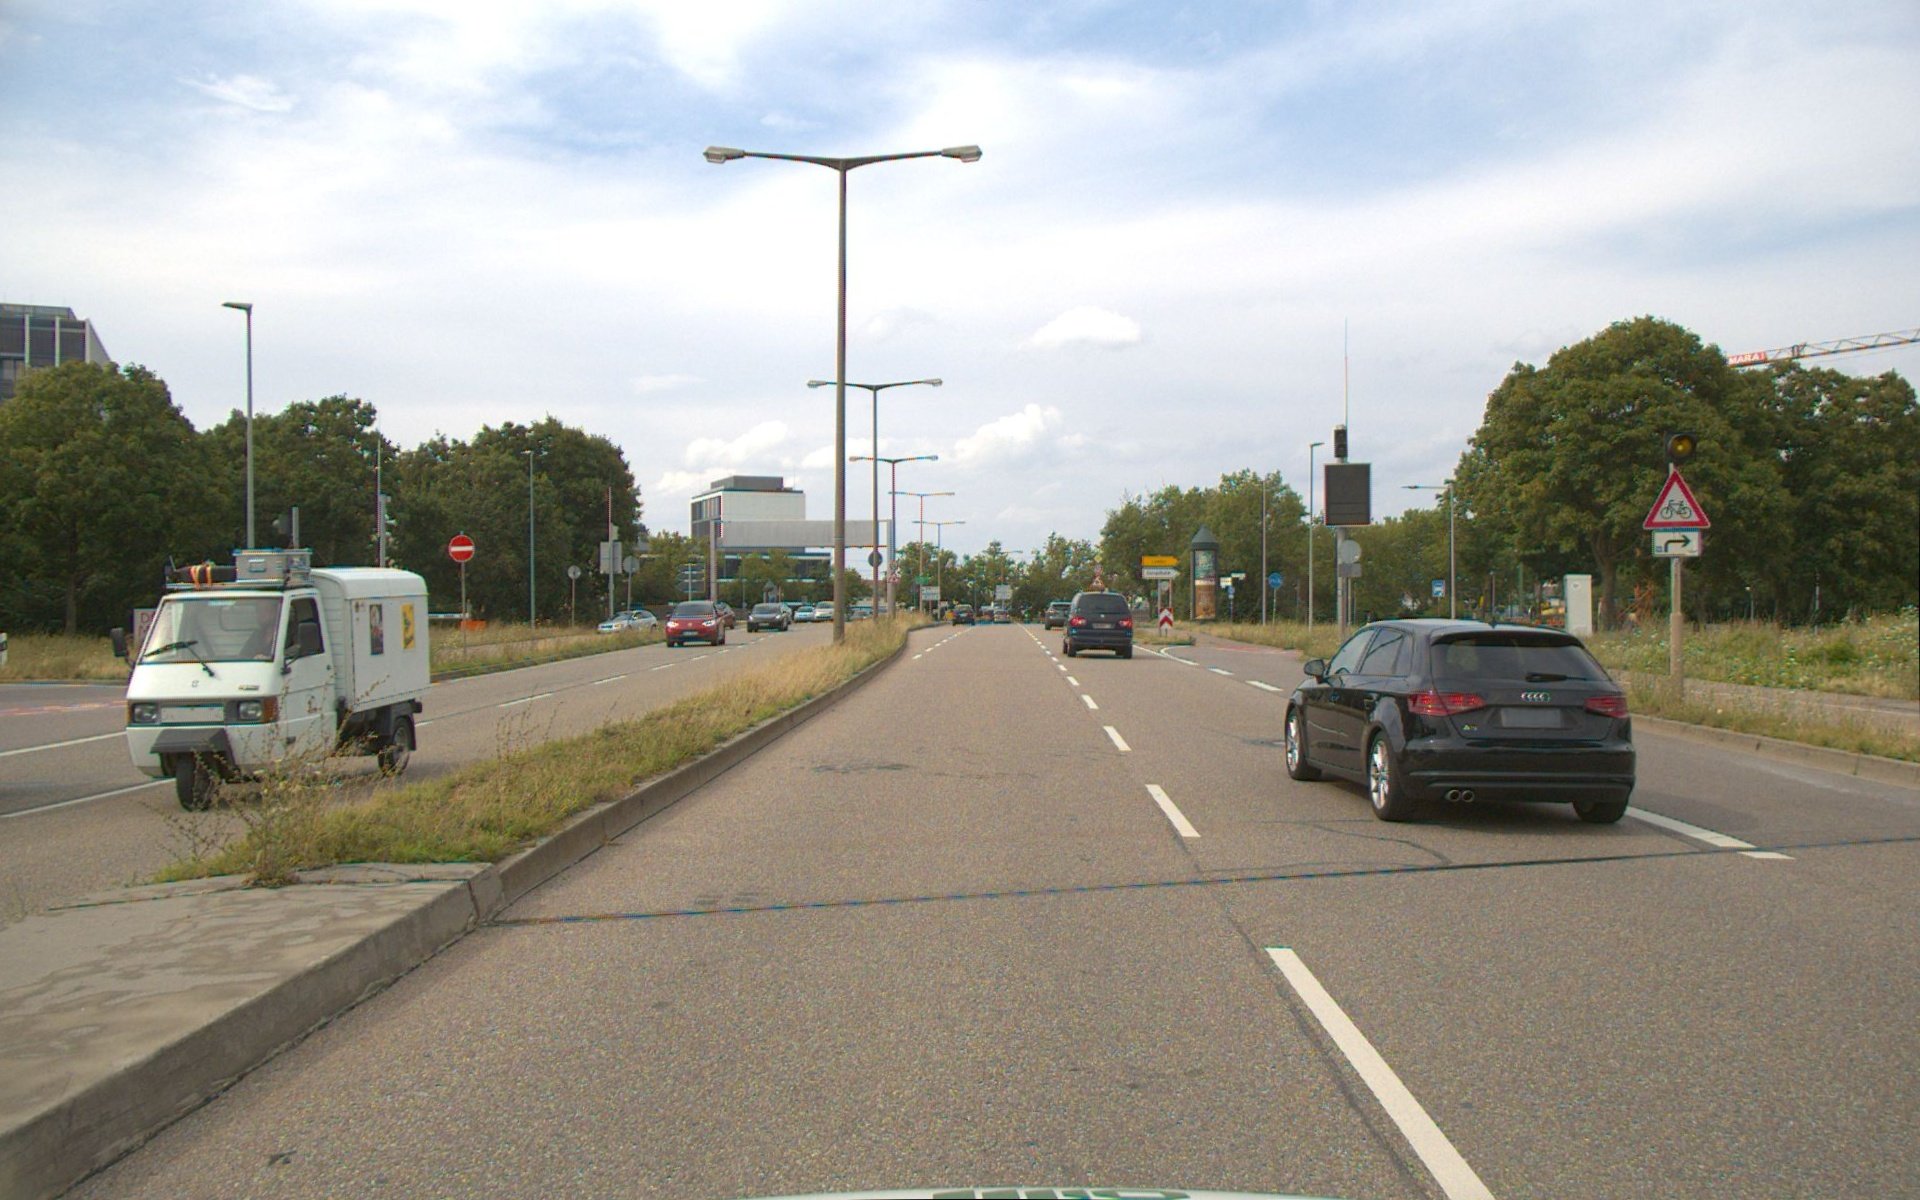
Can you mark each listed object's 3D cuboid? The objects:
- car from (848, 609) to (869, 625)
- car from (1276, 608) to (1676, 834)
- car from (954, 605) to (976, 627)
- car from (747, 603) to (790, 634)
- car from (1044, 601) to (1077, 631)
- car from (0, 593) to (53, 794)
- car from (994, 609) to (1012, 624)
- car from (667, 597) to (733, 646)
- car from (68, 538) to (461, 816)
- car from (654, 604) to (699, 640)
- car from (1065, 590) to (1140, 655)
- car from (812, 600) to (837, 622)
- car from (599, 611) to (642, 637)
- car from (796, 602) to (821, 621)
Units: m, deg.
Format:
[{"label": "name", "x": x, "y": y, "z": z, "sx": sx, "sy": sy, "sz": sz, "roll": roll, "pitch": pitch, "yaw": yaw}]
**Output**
[{"label": "car", "x": -10.584, "y": 1.814, "z": 172.850, "sx": 1.756, "sy": 1.551, "sz": 4.594, "roll": -2, "pitch": -1, "yaw": 1}, {"label": "car", "x": 3.752, "y": 0.800, "z": 12.812, "sx": 1.695, "sy": 1.419, "sz": 4.113, "roll": 1, "pitch": 0, "yaw": -2}, {"label": "car", "x": 0.420, "y": 1.221, "z": 130.110, "sx": 1.695, "sy": 1.682, "sz": 4.115, "roll": 1, "pitch": 0, "yaw": 0}, {"label": "car", "x": -9.893, "y": 0.911, "z": 85.487, "sx": 1.709, "sy": 1.501, "sz": 4.564, "roll": -1, "pitch": 0, "yaw": -1}, {"label": "car", "x": 5.859, "y": 0.904, "z": 96.585, "sx": 1.695, "sy": 1.682, "sz": 4.115, "roll": 1, "pitch": 0, "yaw": 0}, {"label": "car", "x": -8.663, "y": 0.803, "z": 11.762, "sx": 1.710, "sy": 1.613, "sz": 4.588, "roll": -2, "pitch": 1, "yaw": 2}, {"label": "car", "x": 4.415, "y": 1.690, "z": 170.434, "sx": 1.695, "sy": 1.553, "sz": 4.115, "roll": 1, "pitch": 0, "yaw": 0}, {"label": "car", "x": -9.150, "y": 0.723, "z": 58.404, "sx": 1.618, "sy": 1.602, "sz": 4.337, "roll": -3, "pitch": 0, "yaw": -1}, {"label": "car", "x": -5.438, "y": 0.523, "z": 13.433, "sx": 1.508, "sy": 1.903, "sz": 3.571, "roll": -2, "pitch": 1, "yaw": 2}, {"label": "car", "x": -16.863, "y": 1.292, "z": 98.623, "sx": 1.953, "sy": 2.049, "sz": 4.000, "roll": 1, "pitch": 0, "yaw": 0}, {"label": "car", "x": 3.824, "y": 0.581, "z": 45.011, "sx": 1.695, "sy": 1.682, "sz": 4.115, "roll": 1, "pitch": 0, "yaw": 0}, {"label": "car", "x": -10.809, "y": 0.860, "z": 132.258, "sx": 1.710, "sy": 1.626, "sz": 4.563, "roll": -1, "pitch": 0, "yaw": -2}, {"label": "car", "x": -18.100, "y": 1.260, "z": 88.233, "sx": 1.241, "sy": 1.296, "sz": 3.012, "roll": -1, "pitch": 0, "yaw": 9}, {"label": "car", "x": -13.122, "y": 0.982, "z": 143.358, "sx": 1.631, "sy": 1.443, "sz": 4.093, "roll": -2, "pitch": 1, "yaw": 2}]
